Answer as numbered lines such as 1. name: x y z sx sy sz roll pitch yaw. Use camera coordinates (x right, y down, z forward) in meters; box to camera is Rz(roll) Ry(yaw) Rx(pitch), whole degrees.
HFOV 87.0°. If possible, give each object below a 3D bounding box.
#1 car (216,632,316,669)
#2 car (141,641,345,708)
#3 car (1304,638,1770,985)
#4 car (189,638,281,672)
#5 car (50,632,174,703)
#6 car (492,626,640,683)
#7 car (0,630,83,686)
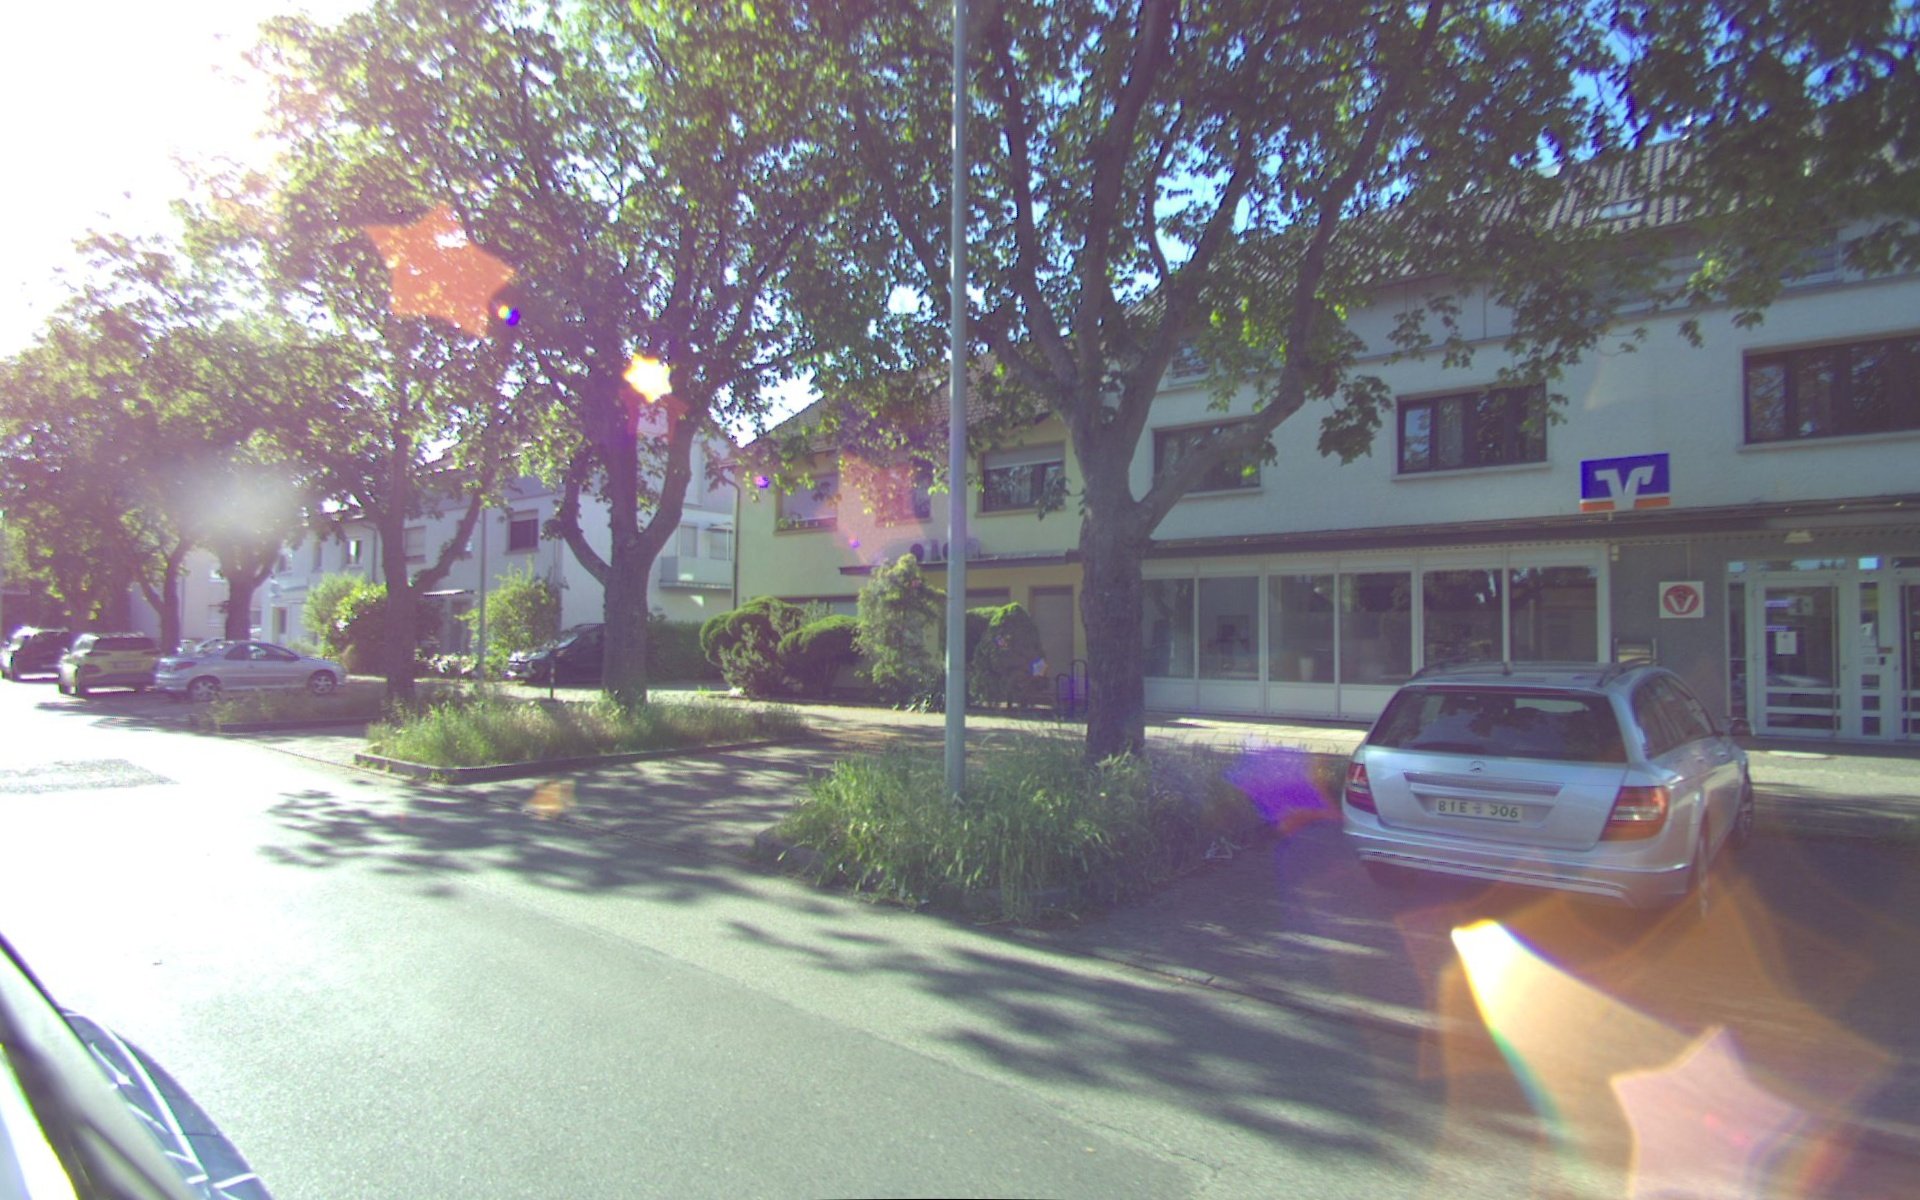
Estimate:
1. car: -36.546 2.611 53.339 1.998 1.696 3.947 -1 1 40
2. car: -16.944 1.714 24.075 1.621 1.333 3.652 -1 -1 35
3. car: 4.110 1.021 6.799 1.998 1.427 4.337 -1 -1 40
4. car: -42.209 3.162 58.958 1.998 1.696 3.947 -1 1 40
5. car: -21.756 1.657 25.935 3.695 1.551 1.972 -1 1 43
6. car: -11.701 1.650 30.219 1.692 1.577 3.722 -1 -4 44
7. car: -30.346 1.875 33.287 4.055 1.746 1.791 -2 -3 43
